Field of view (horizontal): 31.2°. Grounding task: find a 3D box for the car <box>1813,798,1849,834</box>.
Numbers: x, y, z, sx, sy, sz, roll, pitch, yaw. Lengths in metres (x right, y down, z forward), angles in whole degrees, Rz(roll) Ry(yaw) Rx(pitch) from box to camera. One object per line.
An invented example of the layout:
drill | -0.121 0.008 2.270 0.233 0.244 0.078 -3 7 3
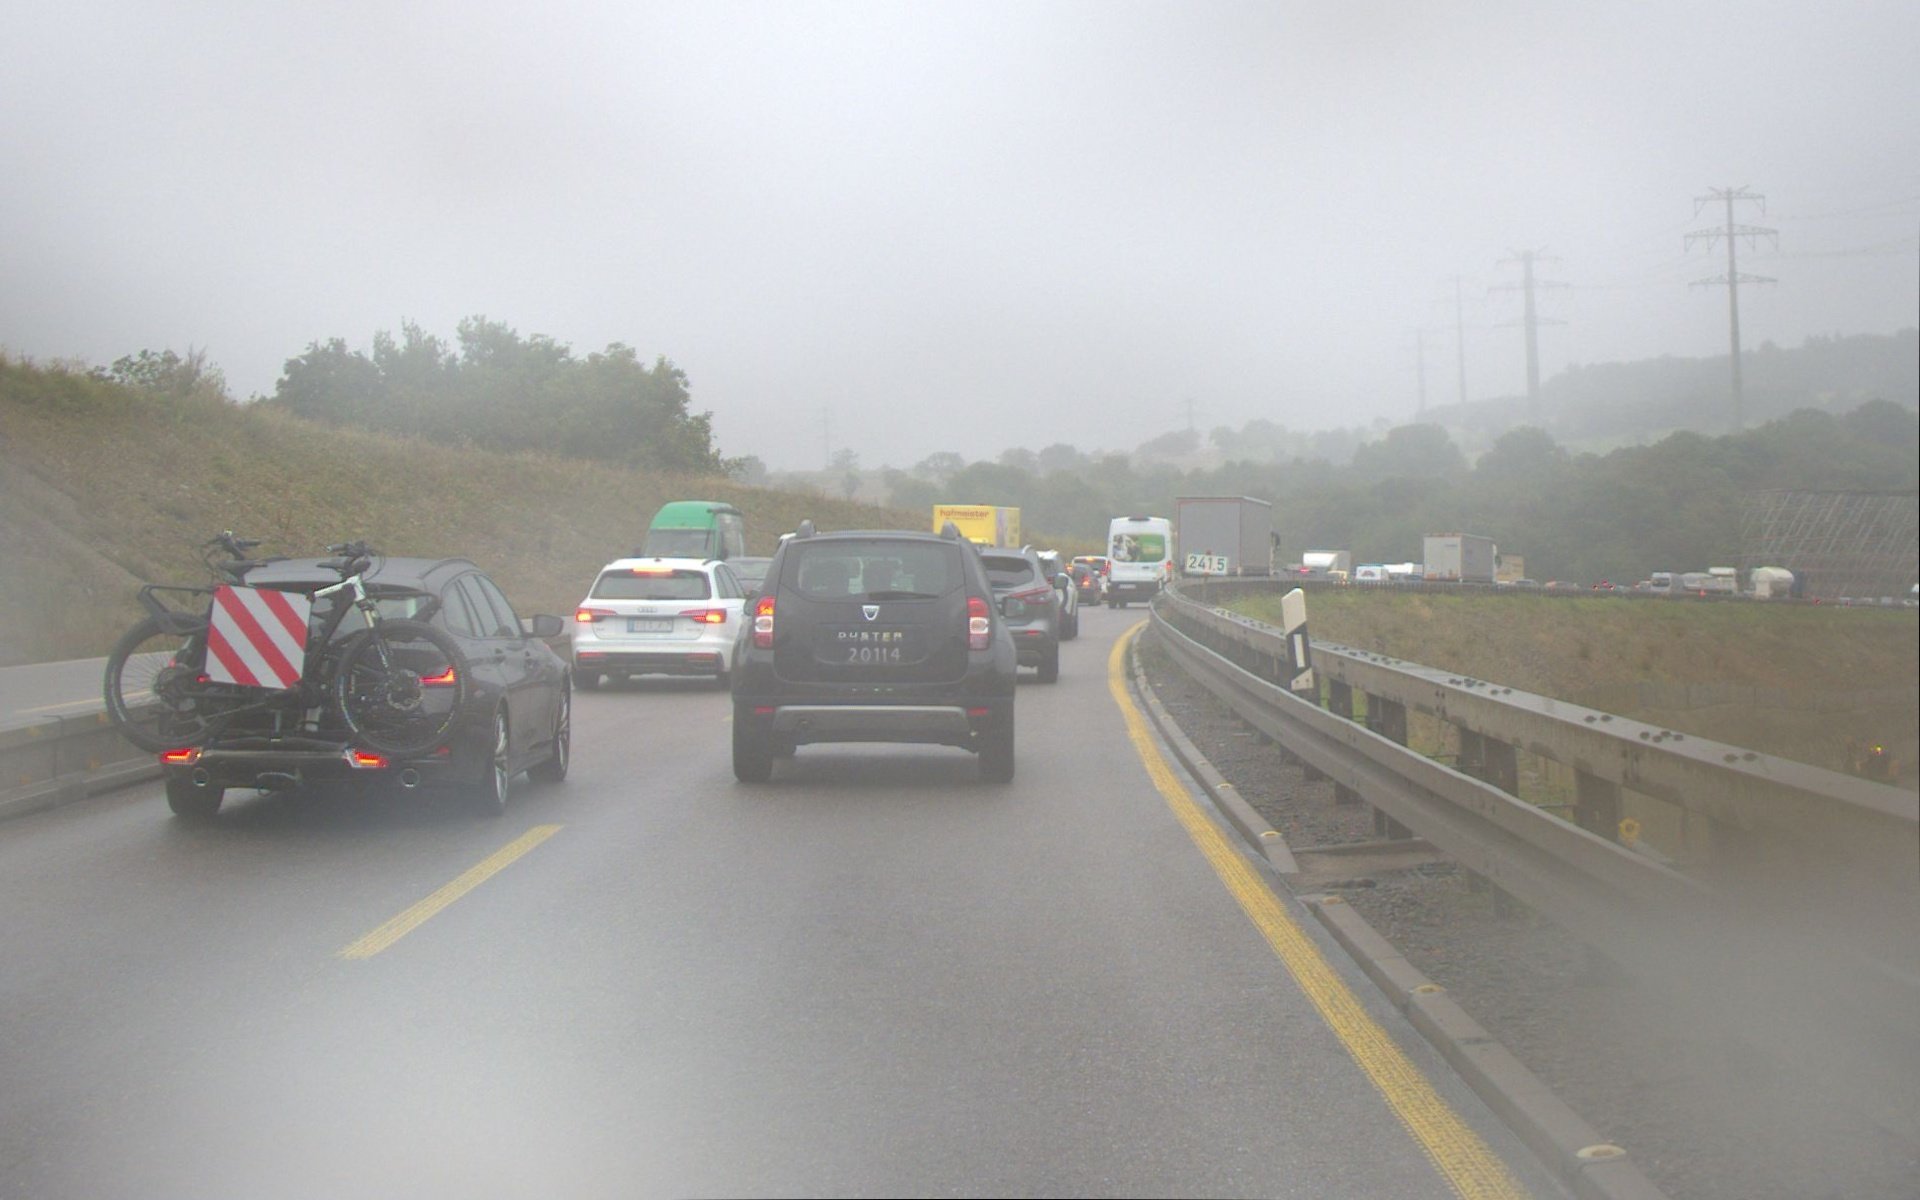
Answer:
car | 57.263 14.186 225.998 1.995 2.007 3.997 2 1 17

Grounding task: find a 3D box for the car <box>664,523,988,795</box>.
car | -0.805 0.337 22.807 1.804 1.640 3.776 0 1 3

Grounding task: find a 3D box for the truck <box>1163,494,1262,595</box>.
truck | 9.893 -2.148 134.038 3.201 3.748 8.507 2 1 8

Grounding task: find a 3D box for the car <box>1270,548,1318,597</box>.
car | 13.719 -1.138 141.207 1.775 1.909 3.999 2 1 8

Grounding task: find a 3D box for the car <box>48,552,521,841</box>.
car | -3.714 0.476 19.552 1.829 1.471 3.776 0 1 2

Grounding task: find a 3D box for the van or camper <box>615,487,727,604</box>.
van or camper | -7.321 -1.388 87.619 2.100 2.808 5.943 1 1 2

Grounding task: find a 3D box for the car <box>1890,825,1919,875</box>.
car | 45.684 11.843 162.848 2.365 2.007 3.999 2 1 4

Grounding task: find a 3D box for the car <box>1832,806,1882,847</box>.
car | 47.109 11.876 180.572 1.994 1.809 3.999 1 0 7

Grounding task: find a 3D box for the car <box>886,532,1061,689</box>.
car | 0.203 0.090 40.257 1.868 1.702 4.000 1 1 2

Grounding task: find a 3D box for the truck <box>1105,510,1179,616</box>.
truck | 5.674 -1.154 106.939 2.149 3.155 6.459 2 1 3

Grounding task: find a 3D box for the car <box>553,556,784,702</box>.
car | -3.128 0.266 37.814 1.868 1.455 4.548 2 1 3

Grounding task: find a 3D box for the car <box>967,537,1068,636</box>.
car | 0.982 -0.261 60.397 1.530 1.635 4.013 1 1 -2

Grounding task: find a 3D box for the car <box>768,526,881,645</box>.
car | -2.231 -0.266 57.368 1.660 1.873 4.020 1 1 0

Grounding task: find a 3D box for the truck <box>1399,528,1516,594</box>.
truck | 33.163 -2.580 228.199 4.722 4.135 15.667 2 1 19

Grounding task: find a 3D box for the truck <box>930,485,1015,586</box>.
truck | 0.567 -2.642 141.997 2.769 3.983 8.421 1 1 5
